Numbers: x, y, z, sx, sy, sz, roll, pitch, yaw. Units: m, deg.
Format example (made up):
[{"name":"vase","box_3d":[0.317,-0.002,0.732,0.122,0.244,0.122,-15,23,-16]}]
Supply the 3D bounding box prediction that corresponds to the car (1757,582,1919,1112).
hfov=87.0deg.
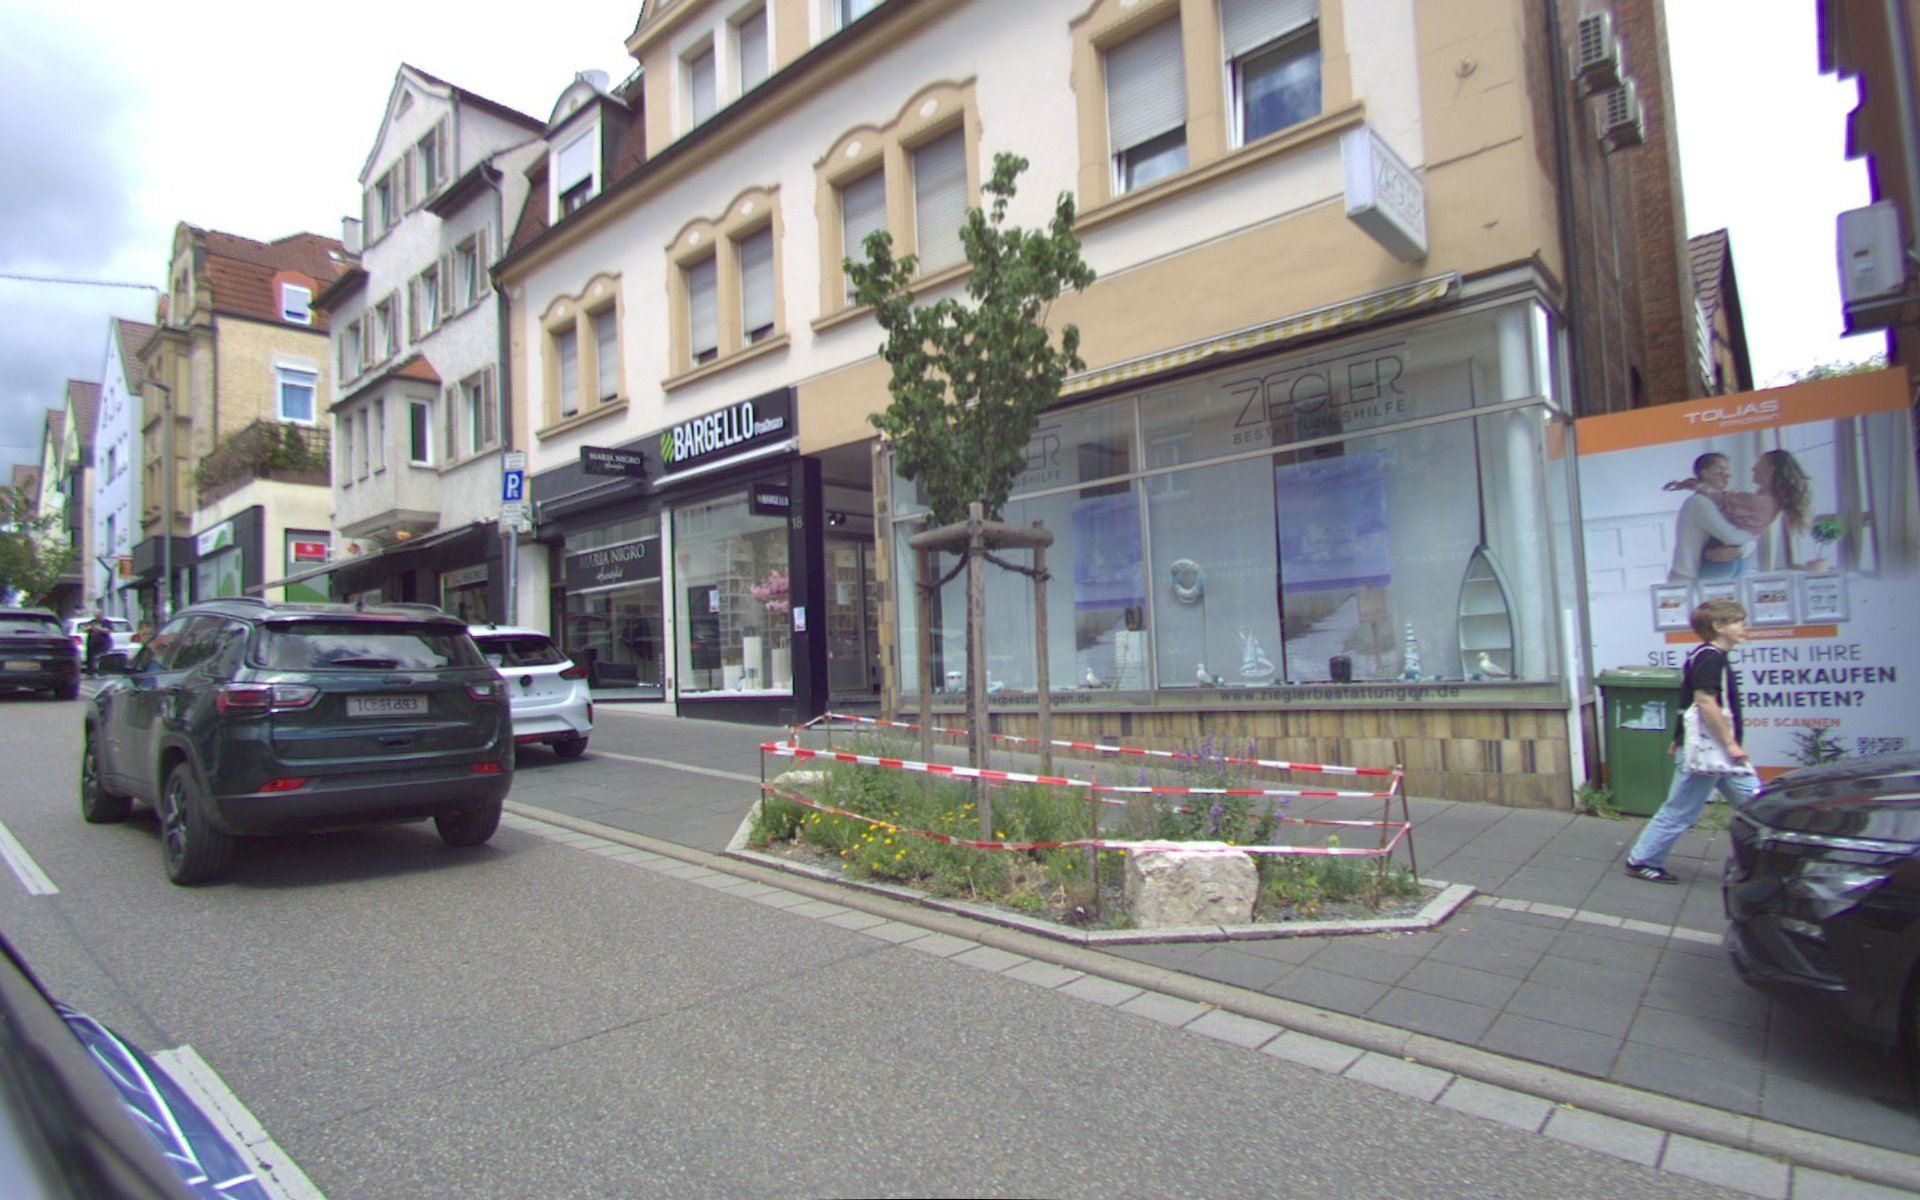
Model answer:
[{"name":"car","box_3d":[4.715,0.677,2.515,4.257,1.508,1.908,-1,-1,39]}]

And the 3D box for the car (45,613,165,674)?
[{"name":"car","box_3d":[-23.944,1.211,28.292,4.259,1.523,1.907,-3,-1,41]}]

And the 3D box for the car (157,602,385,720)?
[{"name":"car","box_3d":[-11.268,0.901,16.420,4.636,1.633,1.907,-1,-1,41]}]

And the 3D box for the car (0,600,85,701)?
[{"name":"car","box_3d":[-18.177,0.917,19.041,4.445,1.731,1.971,-1,-3,42]}]

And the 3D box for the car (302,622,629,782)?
[{"name":"car","box_3d":[-5.705,1.001,11.434,4.261,1.441,1.906,-2,-1,43]}]

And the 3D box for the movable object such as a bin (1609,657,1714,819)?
[{"name":"movable object such as a bin","box_3d":[5.114,0.970,7.375,0.547,1.093,0.733,-2,-4,40]}]

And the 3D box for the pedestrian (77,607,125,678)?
[{"name":"pedestrian","box_3d":[-20.688,1.016,24.378,0.862,1.685,0.730,-2,-2,39]}]

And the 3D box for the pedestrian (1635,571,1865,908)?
[{"name":"pedestrian","box_3d":[4.110,0.680,5.292,0.862,1.588,0.541,-2,-4,41]}]

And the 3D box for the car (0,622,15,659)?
[{"name":"car","box_3d":[-41.512,1.755,42.642,4.839,1.504,1.907,-3,0,41]}]

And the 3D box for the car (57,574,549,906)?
[{"name":"car","box_3d":[-4.687,0.776,6.995,4.030,1.629,1.746,-2,-4,41]}]
